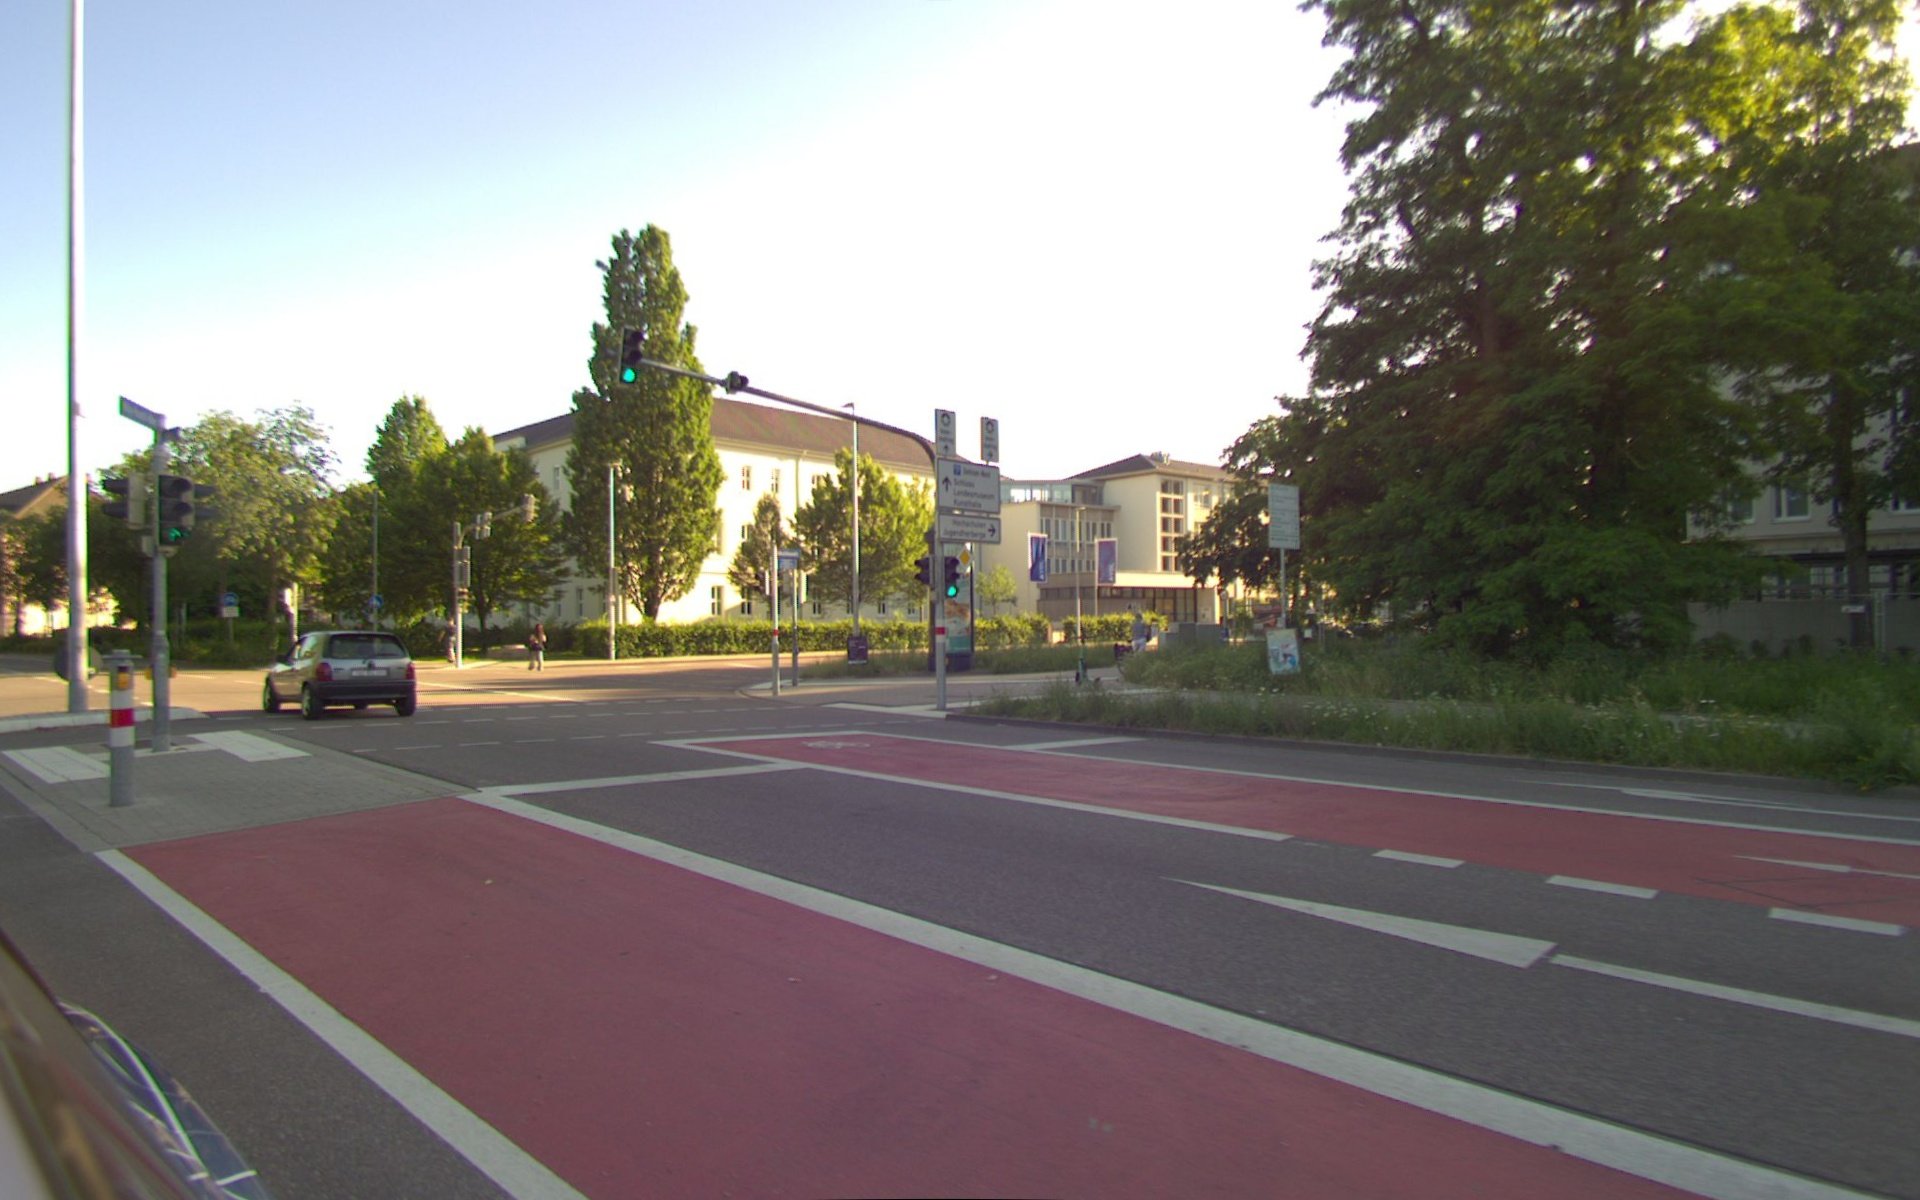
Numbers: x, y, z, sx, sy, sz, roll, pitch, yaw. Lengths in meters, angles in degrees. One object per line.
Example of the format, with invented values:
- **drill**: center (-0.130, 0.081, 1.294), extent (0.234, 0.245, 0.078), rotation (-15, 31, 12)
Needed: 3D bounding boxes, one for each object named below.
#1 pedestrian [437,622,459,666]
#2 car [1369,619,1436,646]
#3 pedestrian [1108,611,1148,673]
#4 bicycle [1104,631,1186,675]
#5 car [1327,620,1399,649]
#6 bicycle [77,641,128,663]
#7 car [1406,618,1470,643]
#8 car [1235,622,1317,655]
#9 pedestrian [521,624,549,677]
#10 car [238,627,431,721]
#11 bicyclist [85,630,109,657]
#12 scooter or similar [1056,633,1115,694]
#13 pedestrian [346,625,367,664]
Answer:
- **pedestrian**: center (-21.482, 1.827, 42.444), extent (0.681, 1.830, 0.681), rotation (1, -2, -41)
- **car**: center (27.325, 1.980, 62.471), extent (4.193, 1.551, 2.240), rotation (0, -2, -41)
- **pedestrian**: center (4.749, 1.184, 28.569), extent (0.966, 1.709, 0.643), rotation (1, -2, -45)
- **bicycle**: center (5.222, 1.456, 28.388), extent (2.541, 1.144, 0.981), rotation (1, -2, -45)
- **car**: center (23.590, 1.999, 59.207), extent (4.193, 1.551, 2.240), rotation (0, -2, -41)
- **bicycle**: center (-47.372, 2.863, 55.907), extent (2.156, 1.125, 0.699), rotation (-1, -2, -5)
- **car**: center (31.071, 1.980, 65.752), extent (4.193, 1.551, 2.240), rotation (0, -2, -41)
- **car**: center (16.157, 1.941, 51.688), extent (4.193, 1.551, 2.072), rotation (0, -2, -41)
- **pedestrian**: center (-14.968, 1.758, 35.632), extent (0.733, 1.830, 0.727), rotation (1, -2, -41)
- **car**: center (-10.960, 1.222, 17.594), extent (4.554, 1.432, 1.692), rotation (-2, -4, 43)
- **bicyclist**: center (-47.683, 2.388, 55.909), extent (0.746, 1.477, 0.699), rotation (0, -2, -5)
- **scooter or similar**: center (2.760, 1.383, 22.430), extent (0.683, 1.304, 1.501), rotation (0, -2, -20)
- **pedestrian**: center (-26.526, 1.930, 44.463), extent (0.681, 1.694, 0.681), rotation (1, -2, -41)
